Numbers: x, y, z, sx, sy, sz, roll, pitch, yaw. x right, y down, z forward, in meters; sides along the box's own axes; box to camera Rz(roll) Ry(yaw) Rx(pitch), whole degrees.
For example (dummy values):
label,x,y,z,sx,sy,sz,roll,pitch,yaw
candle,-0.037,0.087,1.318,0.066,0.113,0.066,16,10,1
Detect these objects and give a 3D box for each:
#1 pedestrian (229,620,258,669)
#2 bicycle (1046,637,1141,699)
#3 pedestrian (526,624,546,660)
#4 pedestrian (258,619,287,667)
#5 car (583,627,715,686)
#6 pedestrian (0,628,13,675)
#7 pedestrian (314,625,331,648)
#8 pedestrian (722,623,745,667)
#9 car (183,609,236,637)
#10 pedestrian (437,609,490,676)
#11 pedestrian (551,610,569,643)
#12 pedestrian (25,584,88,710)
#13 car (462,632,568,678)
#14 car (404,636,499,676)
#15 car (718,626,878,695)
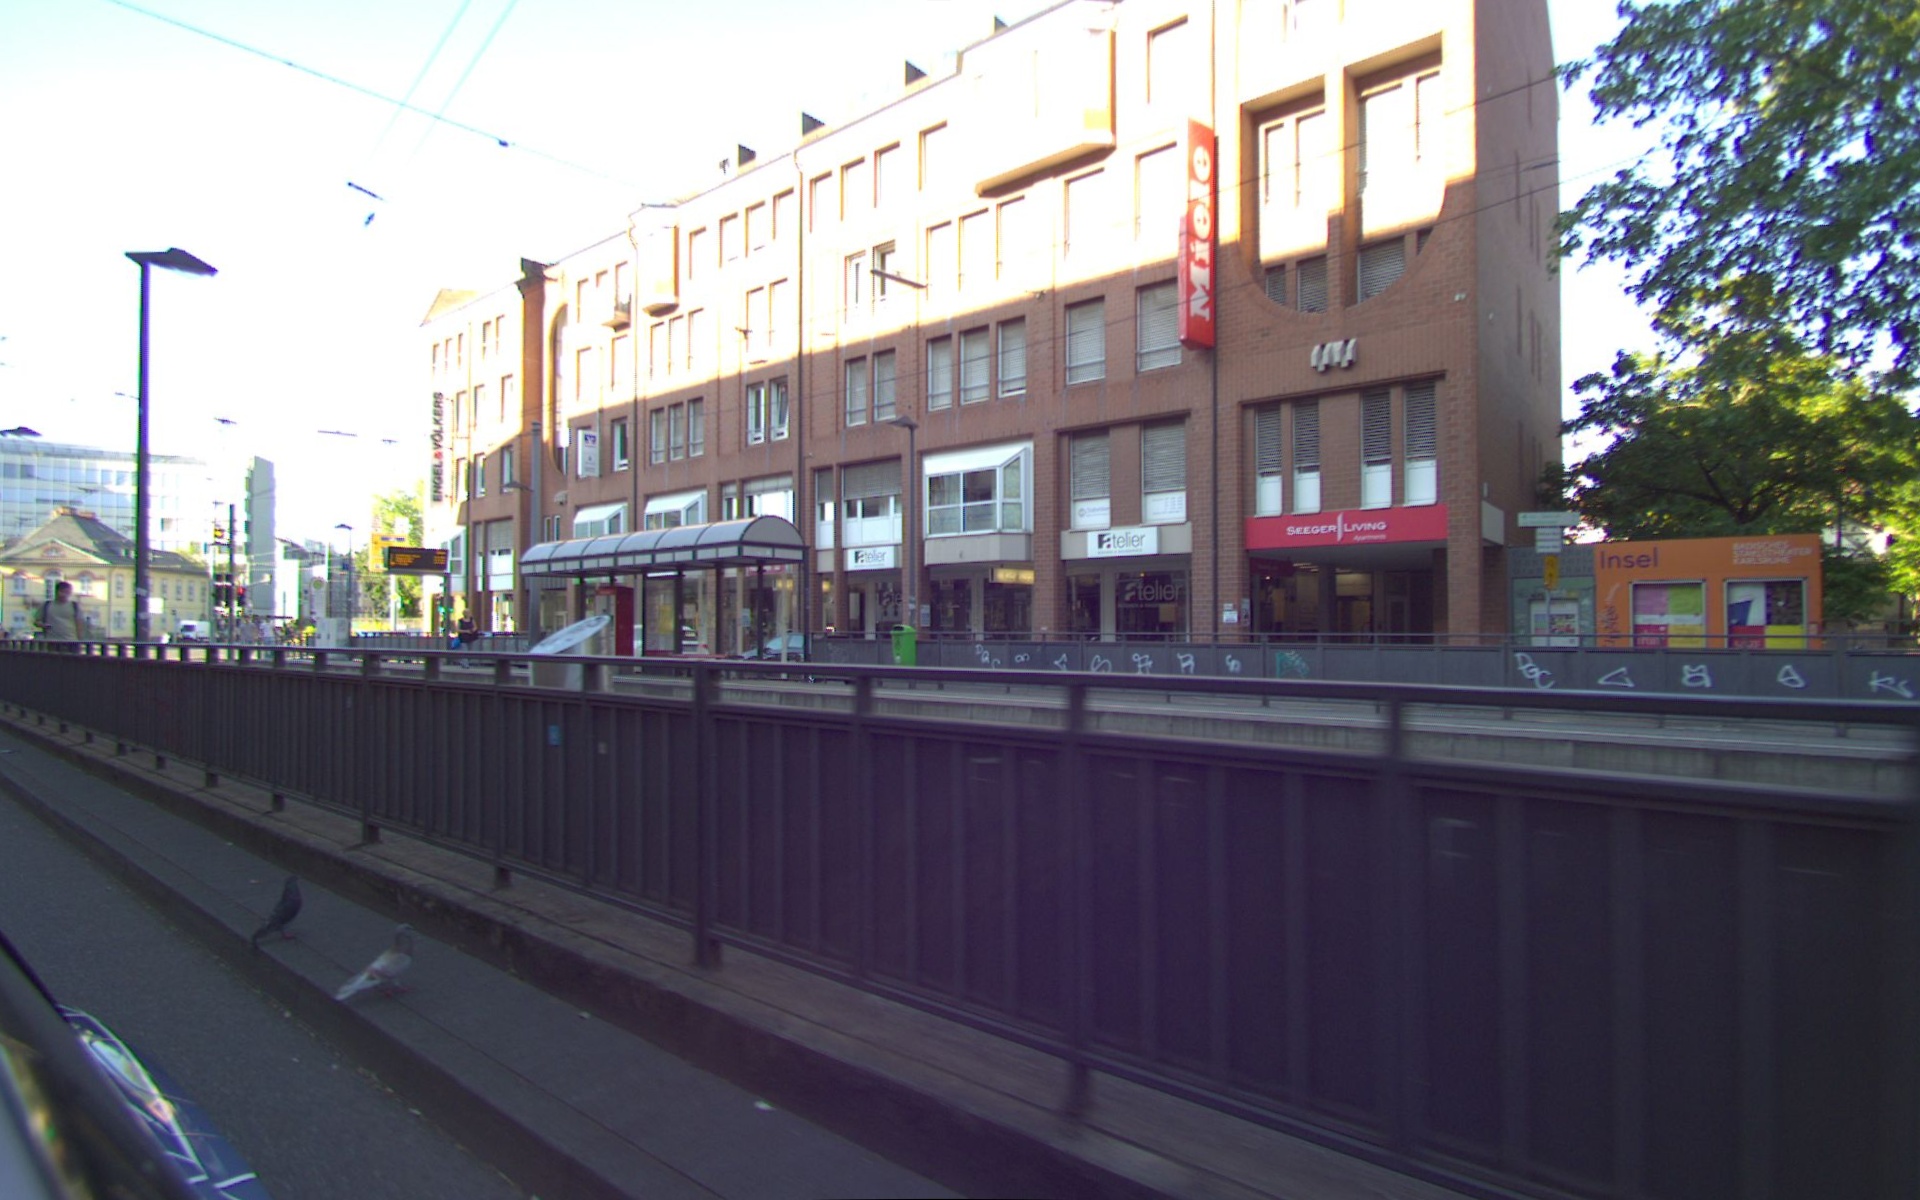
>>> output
label,x,y,z,sx,sy,sz,roll,pitch,yaw
pedestrian,-27.135,1.674,38.346,0.847,1.780,0.813,-2,0,-36
bicycle,3.319,1.642,24.964,2.578,1.292,0.841,-2,1,-42
pedestrian,-19.914,1.974,47.534,0.636,1.674,0.605,-2,-2,39
pedestrian,-26.408,1.642,38.871,0.847,1.780,0.813,-2,0,-35
car,-9.640,1.705,31.246,4.288,1.606,1.890,0,-2,41
pedestrian,-37.332,2.003,39.039,0.852,1.817,0.808,-2,0,12
pedestrian,-56.770,3.260,90.135,0.990,2.029,1.058,-2,0,44
pedestrian,-8.714,1.722,38.935,0.636,1.674,0.606,-1,-2,35
car,-87.987,2.711,118.751,2.501,3.071,6.390,2,-2,-13
pedestrian,-12.803,1.080,26.106,0.966,1.674,0.902,-2,-2,39
pedestrian,-20.607,1.352,52.152,0.636,1.674,0.605,-2,-2,39
pedestrian,-13.260,0.676,14.857,0.605,1.805,0.577,-1,-2,38
car,-16.297,1.989,36.993,4.192,1.612,1.874,-2,-3,39
car,-20.463,2.230,40.669,4.116,1.541,1.883,-2,-4,39
car,-4.368,1.562,26.929,4.288,1.606,1.890,0,-2,41
